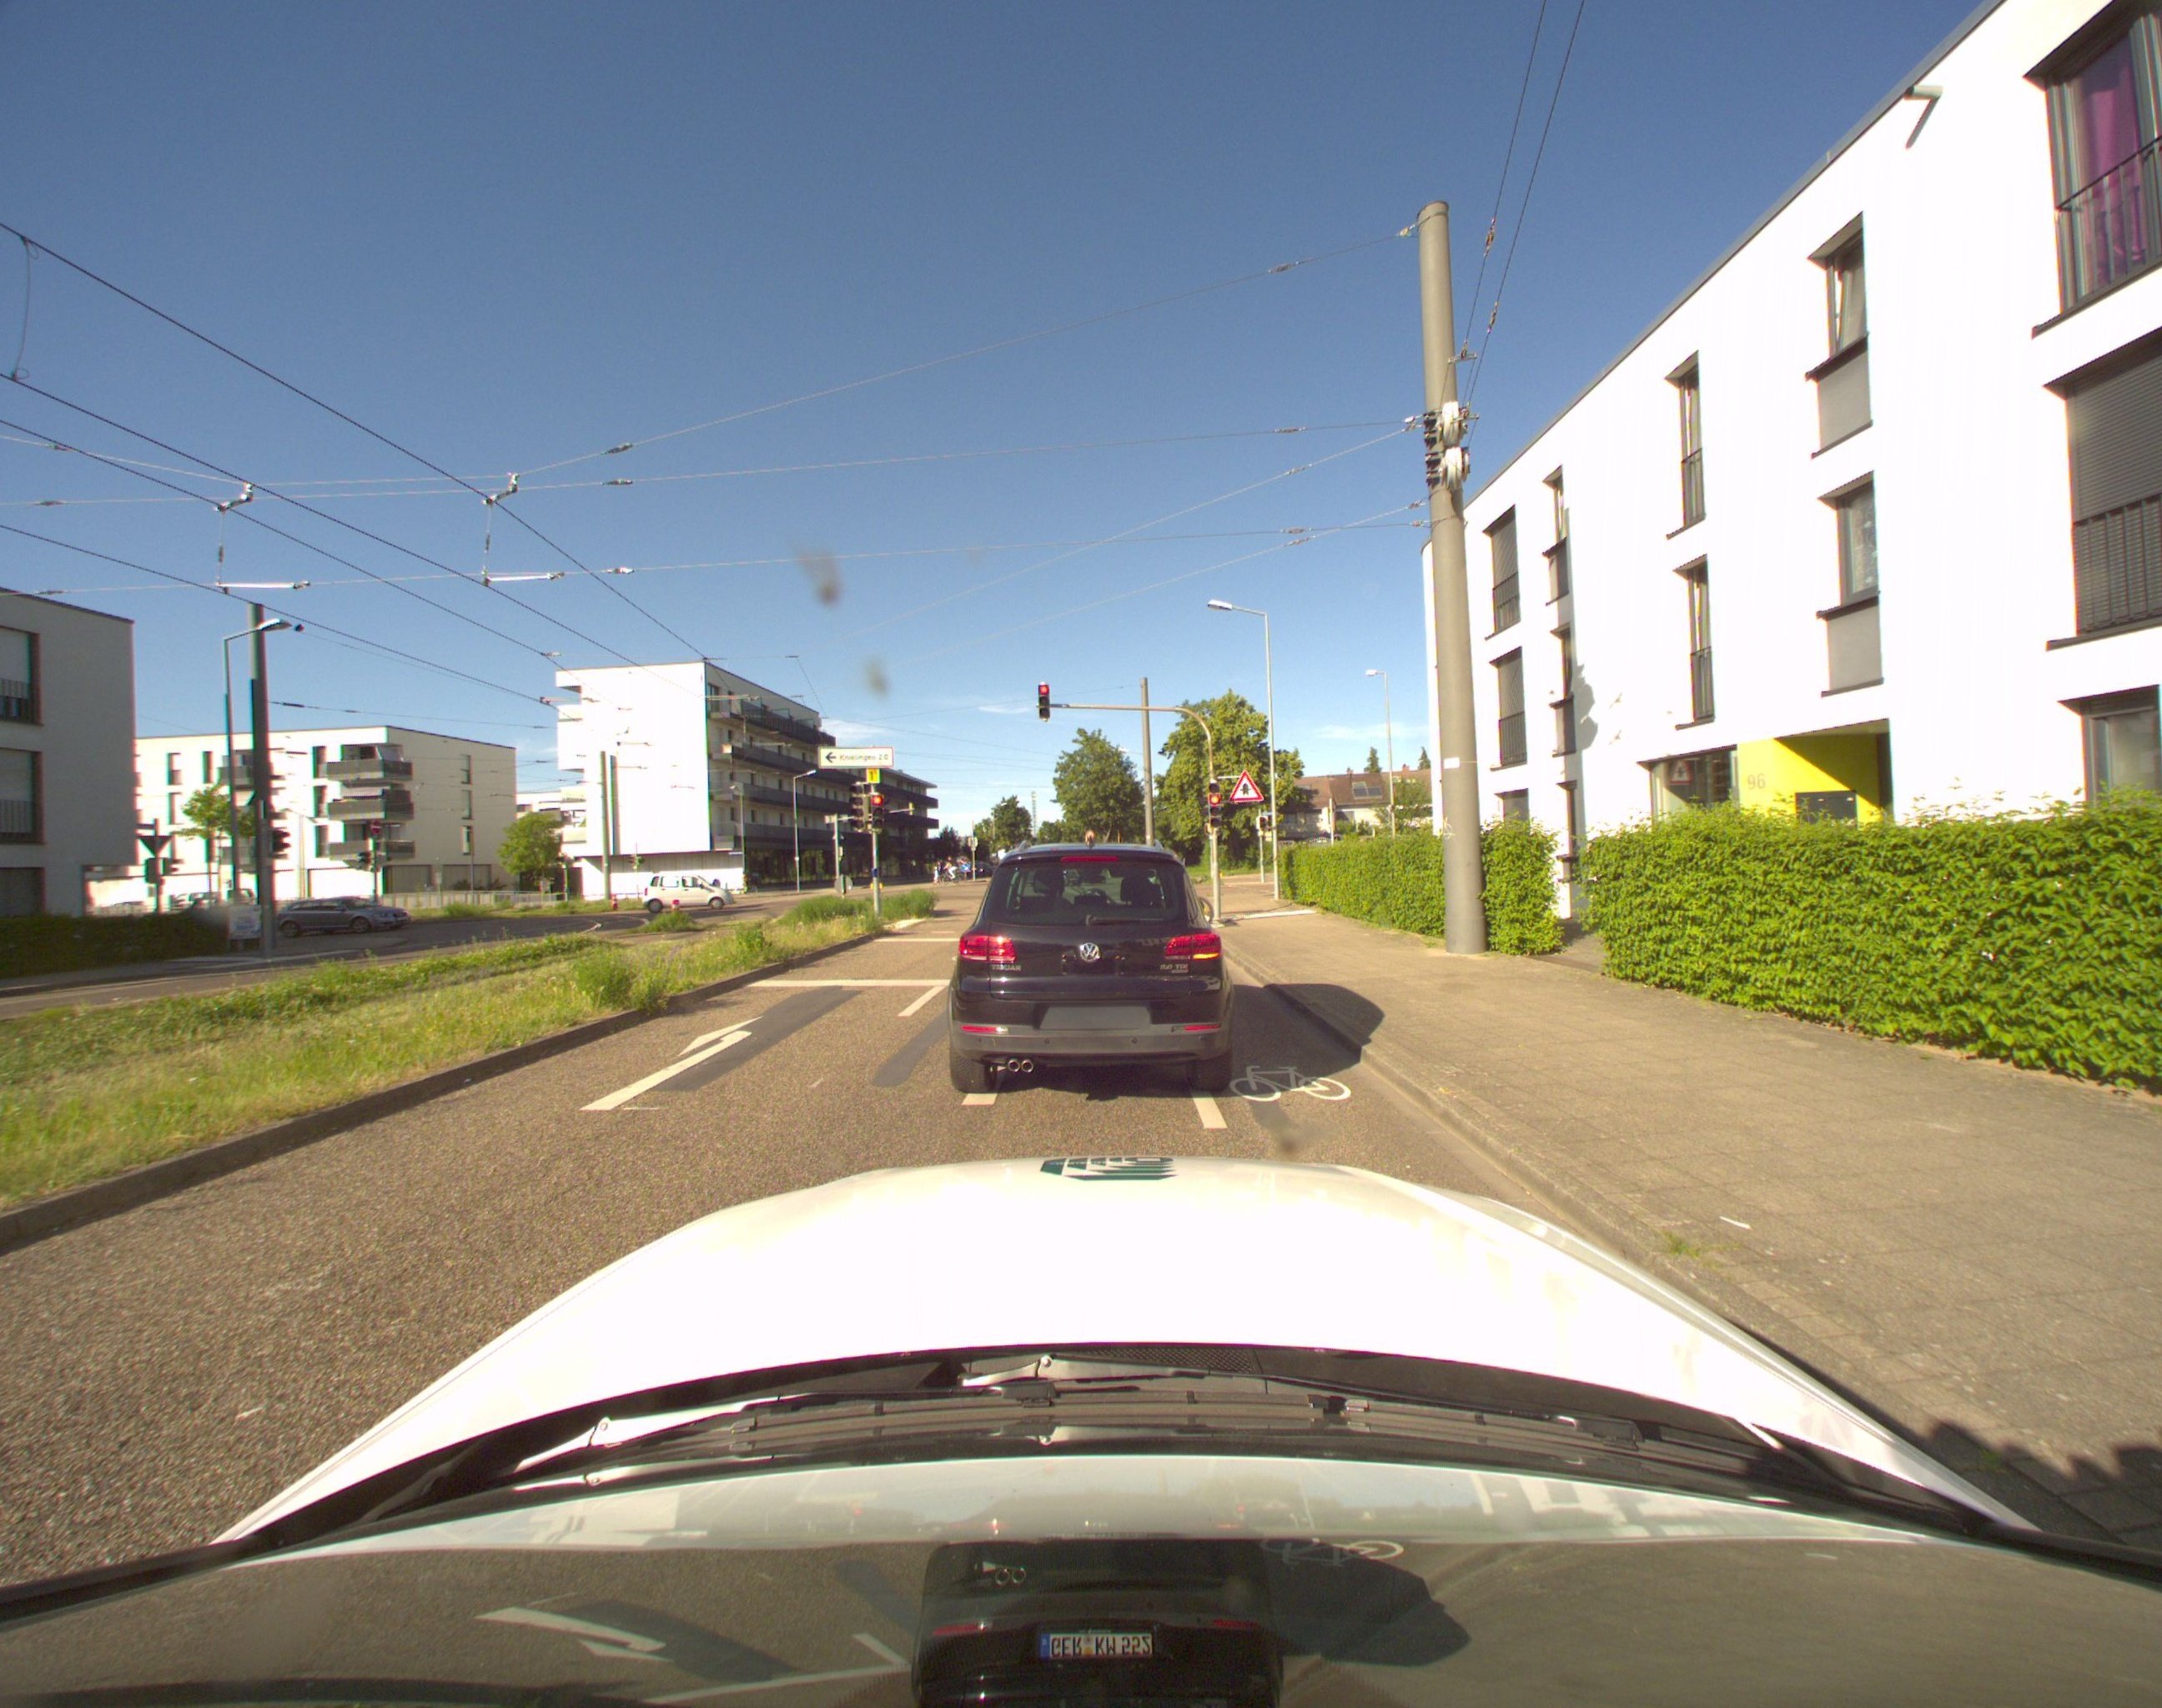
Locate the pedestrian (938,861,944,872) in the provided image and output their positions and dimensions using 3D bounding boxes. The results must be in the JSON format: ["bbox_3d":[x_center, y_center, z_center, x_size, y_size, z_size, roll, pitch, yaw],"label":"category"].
[{"bbox_3d":[-19.000,1.707,110.408,0.640,1.509,0.596,0,-1,2],"label":"pedestrian"}]

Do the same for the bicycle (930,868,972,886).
[{"bbox_3d":[-8.007,1.421,50.204,2.401,1.002,0.640,-3,-1,0],"label":"bicycle"}]

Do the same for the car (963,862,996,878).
[{"bbox_3d":[-10.373,1.607,83.521,1.980,1.574,4.353,-1,-1,11],"label":"car"}]

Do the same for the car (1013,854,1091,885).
[{"bbox_3d":[-1.636,0.893,46.109,3.956,1.684,2.008,-1,-1,16],"label":"car"}]

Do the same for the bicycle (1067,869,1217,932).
[{"bbox_3d":[1.317,0.985,17.607,3.100,1.173,0.933,-3,-1,4],"label":"bicycle"}]

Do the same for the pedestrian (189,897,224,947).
[{"bbox_3d":[-29.895,2.311,27.837,0.733,1.605,0.778,-1,-1,40],"label":"pedestrian"}]

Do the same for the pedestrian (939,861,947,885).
[{"bbox_3d":[-10.252,1.429,60.571,0.542,1.744,0.517,0,-1,-4],"label":"pedestrian"}]

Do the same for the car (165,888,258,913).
[{"bbox_3d":[-58.929,3.150,55.228,4.305,1.574,2.002,0,-1,4],"label":"car"}]

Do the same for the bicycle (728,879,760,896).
[{"bbox_3d":[-22.758,2.251,55.042,1.868,1.124,0.814,0,-1,-33],"label":"bicycle"}]

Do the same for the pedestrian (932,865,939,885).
[{"bbox_3d":[-10.683,1.534,59.990,0.440,1.503,0.517,0,-1,-4],"label":"pedestrian"}]

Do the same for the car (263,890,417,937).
[{"bbox_3d":[-28.757,2.289,31.721,4.088,1.485,1.867,-3,0,-4],"label":"car"}]

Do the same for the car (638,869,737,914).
[{"bbox_3d":[-16.878,1.568,35.094,3.692,1.720,1.855,-2,0,-25],"label":"car"}]

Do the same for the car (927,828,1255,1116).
[{"bbox_3d":[0.119,0.691,6.654,1.862,1.637,4.001,0,-1,2],"label":"car"}]

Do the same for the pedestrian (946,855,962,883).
[{"bbox_3d":[-7.833,0.934,50.212,0.810,1.692,0.621,-3,-1,0],"label":"pedestrian"}]

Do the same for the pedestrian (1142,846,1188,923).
[{"bbox_3d":[1.801,0.644,17.578,0.848,1.594,0.914,-3,-1,2],"label":"pedestrian"}]

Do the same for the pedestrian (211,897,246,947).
[{"bbox_3d":[-29.149,2.306,27.854,0.733,1.605,0.778,-1,-1,40],"label":"pedestrian"}]

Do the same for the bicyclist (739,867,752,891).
[{"bbox_3d":[-22.694,1.707,55.099,0.643,1.614,0.777,0,-1,-33],"label":"bicyclist"}]
